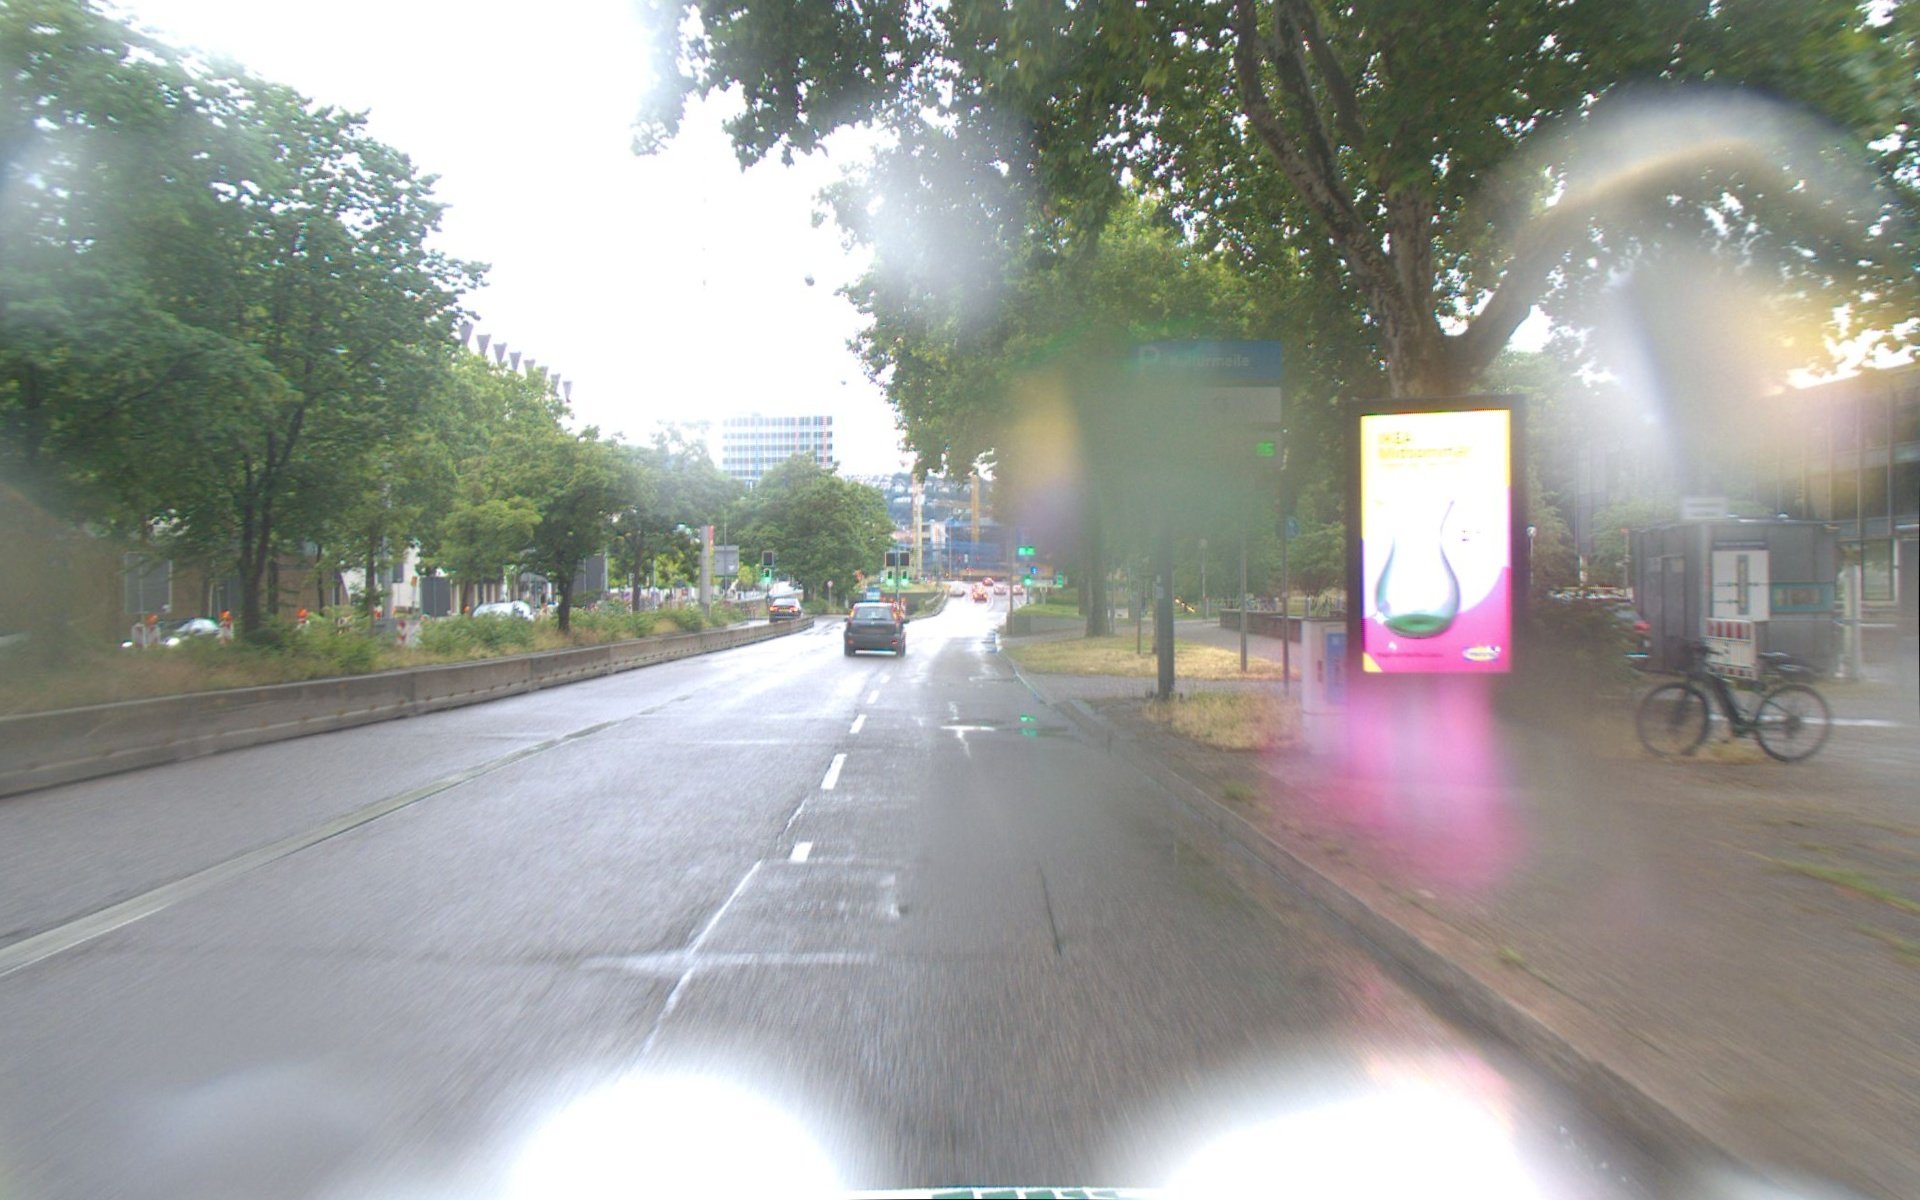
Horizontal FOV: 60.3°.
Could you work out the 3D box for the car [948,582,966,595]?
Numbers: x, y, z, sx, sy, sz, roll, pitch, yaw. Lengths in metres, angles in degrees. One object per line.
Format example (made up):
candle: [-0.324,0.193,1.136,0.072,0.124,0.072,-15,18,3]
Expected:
car: [-0.492,-1.772,262.000,2.172,2.049,4.004,0,0,11]

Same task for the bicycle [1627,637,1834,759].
bicycle: [7.048,0.890,15.174,1.606,1.038,0.575,2,-1,3]

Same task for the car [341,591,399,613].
car: [-46.546,0.152,130.558,3.907,1.624,1.999,-1,0,-2]

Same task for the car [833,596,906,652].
car: [-2.567,0.672,46.065,1.808,1.441,3.834,-2,-1,-6]

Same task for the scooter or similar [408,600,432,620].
scooter or similar: [-37.719,0.687,115.537,0.697,1.375,1.675,-2,-1,21]

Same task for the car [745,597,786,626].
car: [-10.081,0.574,85.986,1.718,1.477,3.999,-1,0,-1]

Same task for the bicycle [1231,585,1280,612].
bicycle: [13.309,-0.077,74.490,1.997,1.194,0.958,-1,1,-10]

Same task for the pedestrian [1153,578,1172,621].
pedestrian: [8.544,-0.020,69.775,0.690,1.748,0.692,-2,0,1]

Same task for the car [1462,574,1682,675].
car: [11.056,0.373,30.348,1.953,1.637,5.235,0,1,-2]

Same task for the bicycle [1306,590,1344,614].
bicycle: [17.236,0.090,78.082,1.609,1.104,0.709,-1,1,-5]

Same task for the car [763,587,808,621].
car: [-9.775,0.219,92.889,1.952,1.812,4.001,-1,0,1]

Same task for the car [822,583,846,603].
car: [-10.630,-0.624,140.007,1.954,1.661,3.997,0,0,-4]

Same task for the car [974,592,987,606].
car: [2.909,-0.170,229.520,1.703,1.802,4.000,-2,-1,1]

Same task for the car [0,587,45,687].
car: [-15.415,0.571,24.560,1.513,1.534,3.930,0,0,-1]
